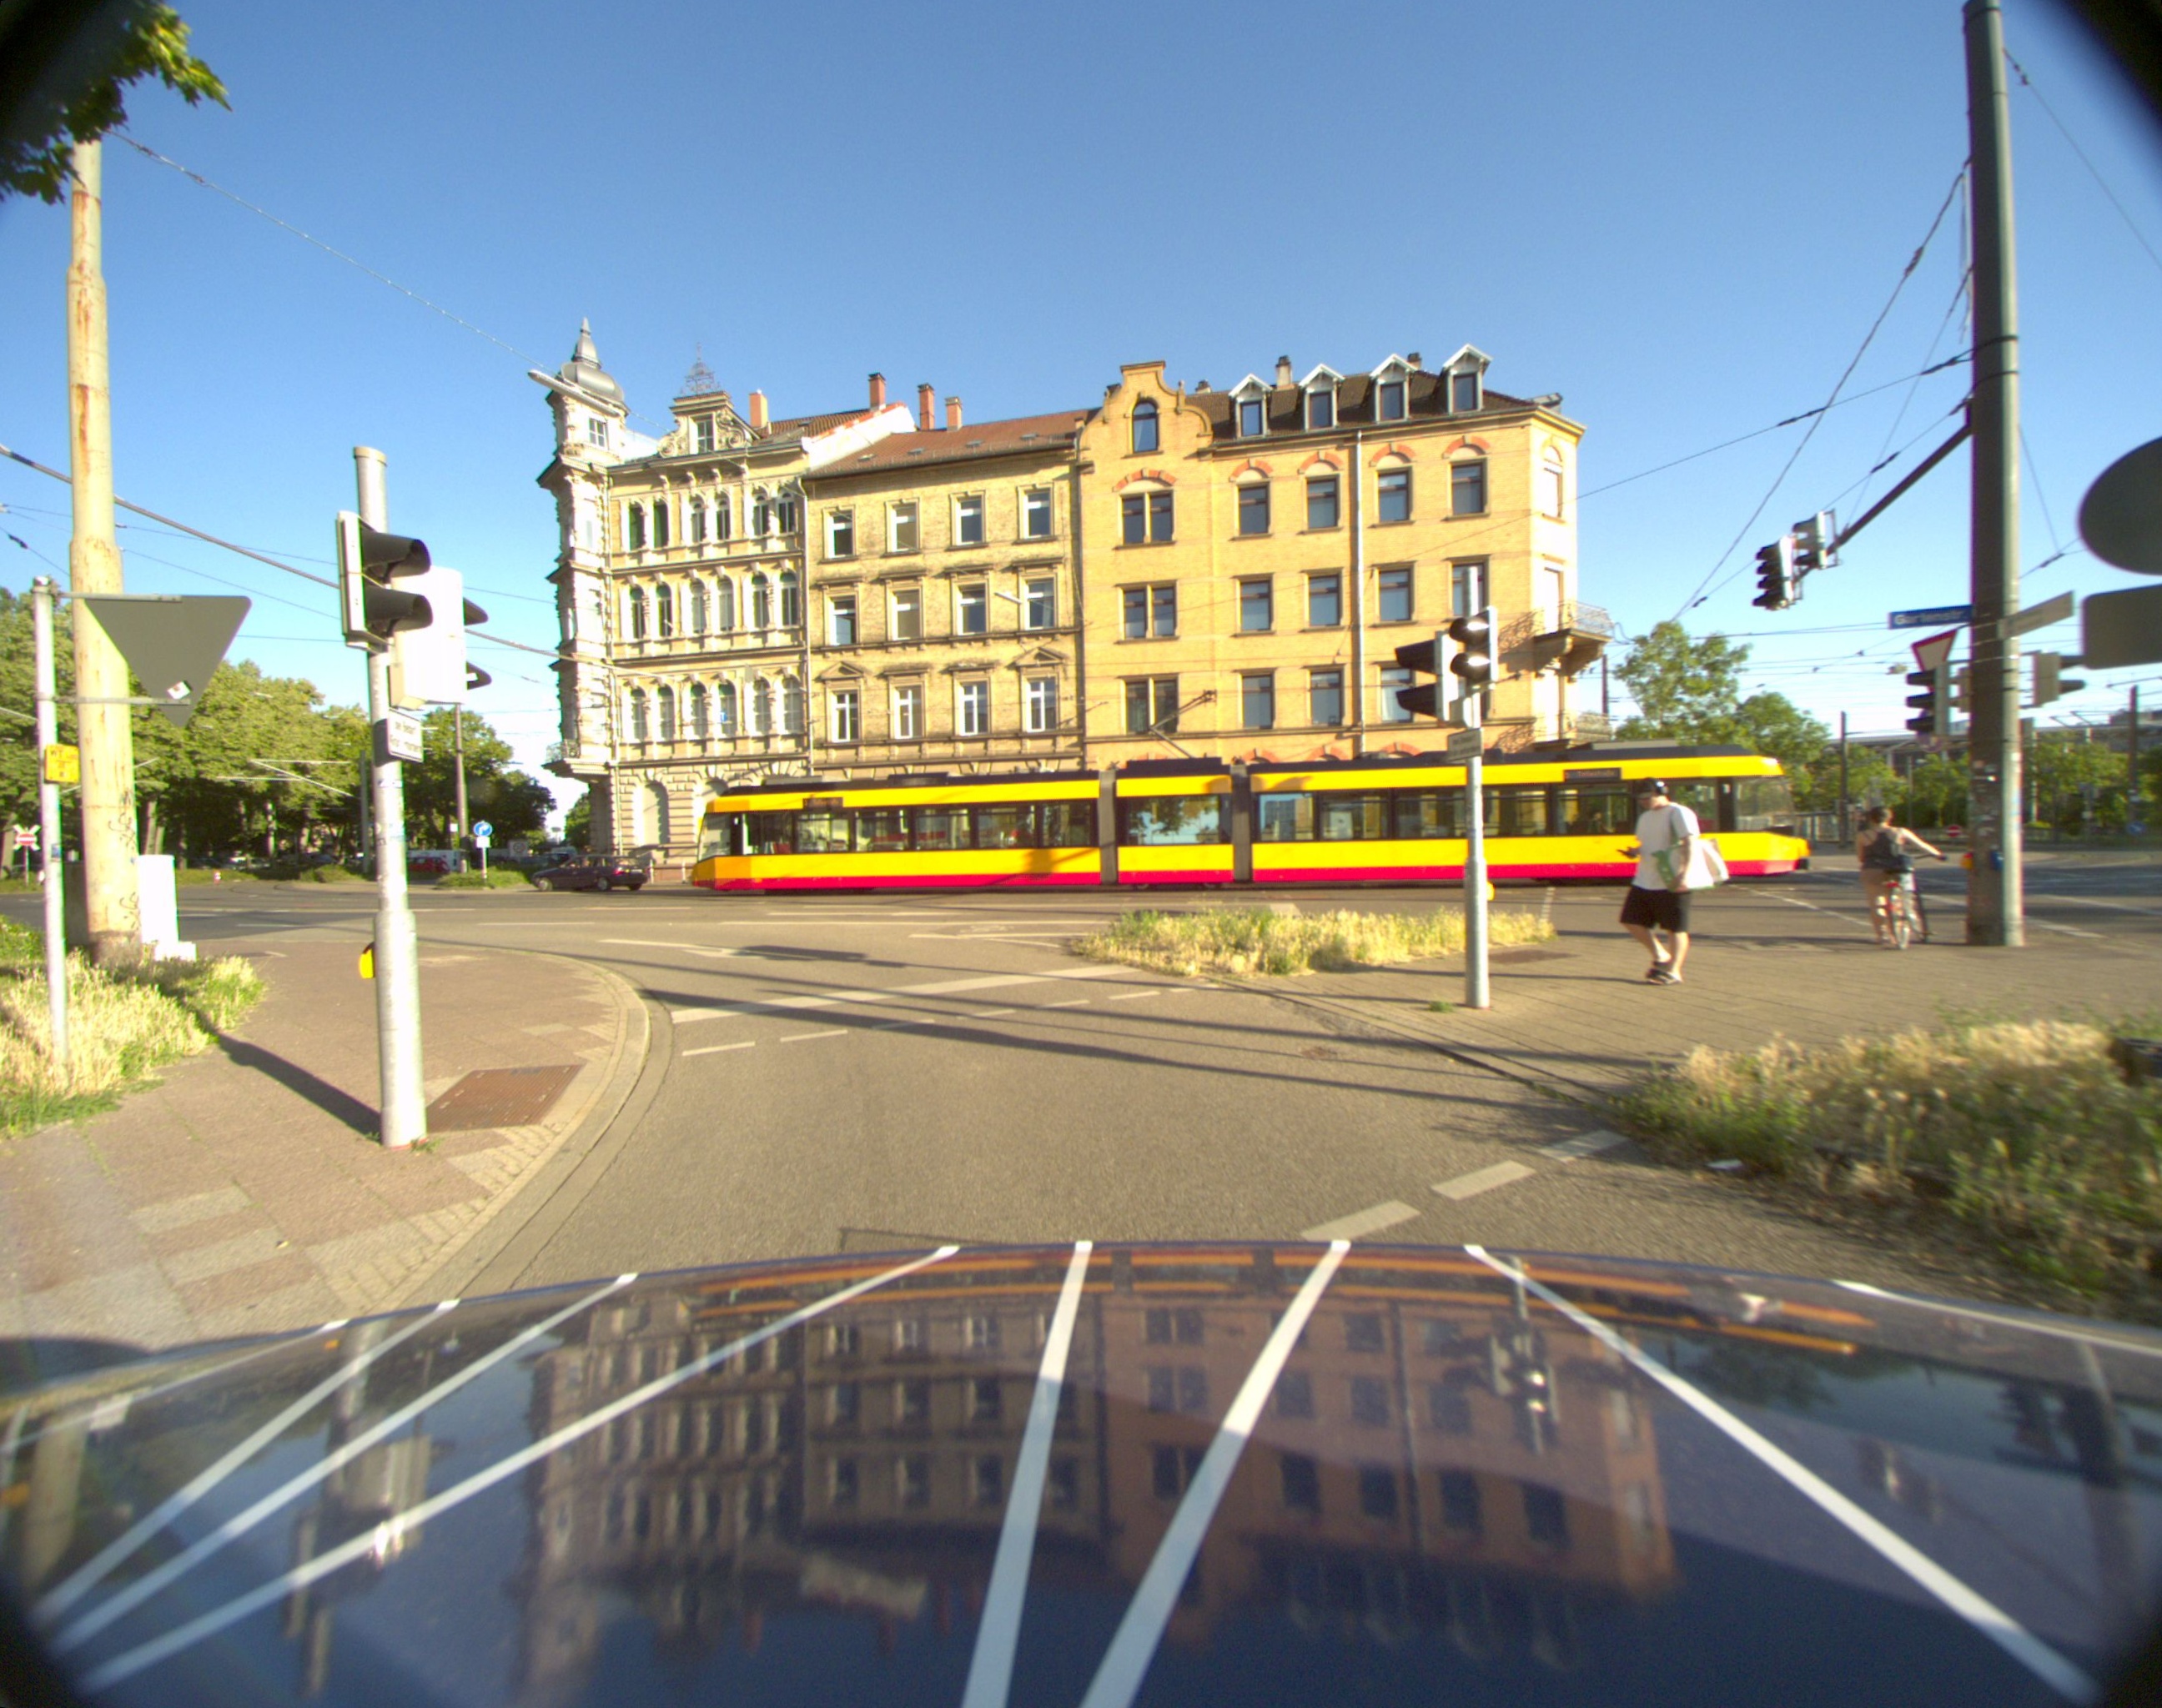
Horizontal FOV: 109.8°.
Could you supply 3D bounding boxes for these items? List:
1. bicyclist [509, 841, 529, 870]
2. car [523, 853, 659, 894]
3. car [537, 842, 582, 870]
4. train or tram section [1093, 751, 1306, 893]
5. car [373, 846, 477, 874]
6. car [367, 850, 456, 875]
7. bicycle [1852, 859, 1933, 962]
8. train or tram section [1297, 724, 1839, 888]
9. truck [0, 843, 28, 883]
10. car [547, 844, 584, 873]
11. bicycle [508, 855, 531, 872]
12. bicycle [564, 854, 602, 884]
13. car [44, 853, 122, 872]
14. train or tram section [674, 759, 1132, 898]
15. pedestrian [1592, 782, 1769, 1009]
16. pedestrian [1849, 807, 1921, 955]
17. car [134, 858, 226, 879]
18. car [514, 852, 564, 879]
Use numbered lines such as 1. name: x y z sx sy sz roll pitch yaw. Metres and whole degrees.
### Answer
1. bicyclist: -37.044 0.098 50.113 0.731 1.830 1.210 -2 1 -24
2. car: -18.224 0.720 28.330 4.156 1.372 1.816 -1 1 12
3. car: -32.950 0.084 48.099 1.740 1.652 3.991 -2 1 -26
4. train or tram section: 3.227 -0.797 20.771 5.295 3.488 2.872 -1 1 11
5. car: -45.549 0.364 52.877 5.061 1.778 1.997 -1 1 -14
6. car: -44.694 0.543 50.789 4.002 1.499 1.866 -1 1 -14
7. bicycle: 9.185 0.601 8.585 1.675 1.023 0.398 -2 2 -35
8. train or tram section: 11.459 -1.039 19.251 11.279 3.488 2.872 -1 1 11
9. truck: -76.187 0.663 52.751 2.003 2.767 4.871 -2 2 -34
10. car: -38.724 0.293 57.143 2.003 2.002 4.624 -2 1 -31
11. bicycle: -36.993 0.620 50.082 0.729 1.077 2.112 -2 1 -25
12. bicycle: -22.061 0.646 33.733 0.646 1.259 2.684 -2 1 -17
13. car: -97.918 0.830 74.568 4.443 1.740 1.998 -1 1 -8
14. train or tram section: -5.164 -0.615 22.344 12.993 3.488 2.872 -1 1 11
15. pedestrian: 5.031 0.329 6.447 0.826 1.779 0.912 -1 1 7
16. pedestrian: 9.184 0.289 8.685 0.526 1.622 0.488 -2 2 -35
17. car: -62.781 0.980 53.017 3.691 1.346 1.738 -2 1 -19
18. car: -31.085 0.645 43.690 1.740 1.406 3.426 -2 1 -26
